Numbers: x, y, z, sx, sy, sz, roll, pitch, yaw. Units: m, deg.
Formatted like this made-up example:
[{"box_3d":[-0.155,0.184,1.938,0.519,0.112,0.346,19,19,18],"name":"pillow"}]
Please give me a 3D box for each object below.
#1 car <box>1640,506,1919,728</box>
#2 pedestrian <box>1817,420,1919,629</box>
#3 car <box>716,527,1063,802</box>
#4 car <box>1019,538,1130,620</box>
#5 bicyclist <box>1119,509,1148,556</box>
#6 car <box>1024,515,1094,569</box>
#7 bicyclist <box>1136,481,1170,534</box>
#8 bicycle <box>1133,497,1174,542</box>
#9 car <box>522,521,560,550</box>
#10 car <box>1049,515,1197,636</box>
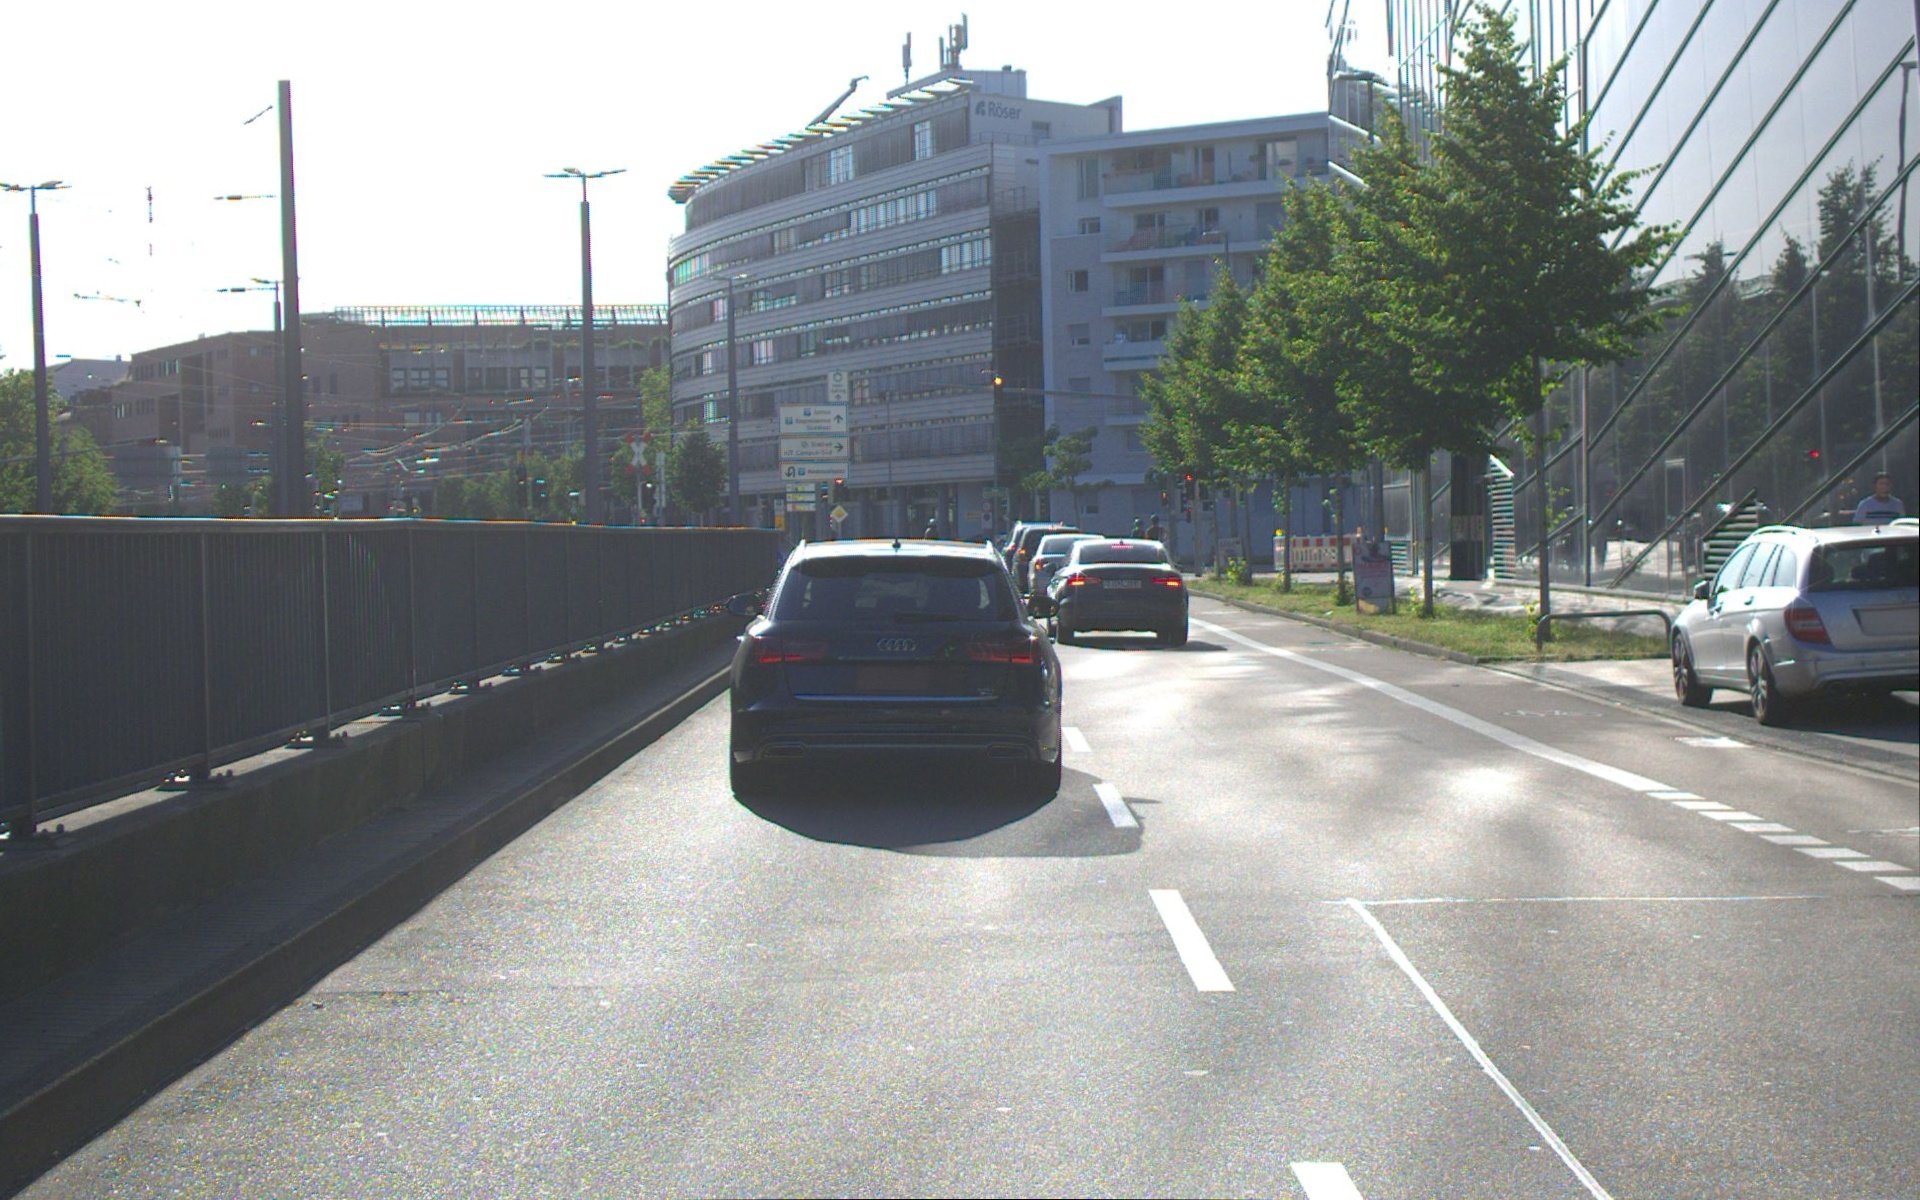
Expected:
[{"box_3d":[6.812,0.056,27.038,1.852,1.476,4.854,-3,2,-1],"name":"car"},{"box_3d":[8.987,-0.744,33.907,0.836,2.006,0.689,-2,1,1],"name":"pedestrian"},{"box_3d":[-0.406,0.293,20.616,1.812,1.422,4.690,-1,1,-1],"name":"car"},{"box_3d":[2.209,-0.431,67.080,1.993,1.460,4.001,0,2,0],"name":"car"},{"box_3d":[4.833,-1.891,95.946,0.724,1.264,1.036,-3,1,1],"name":"bicyclist"},{"box_3d":[2.864,-1.707,99.689,1.993,1.460,4.000,0,2,2],"name":"car"},{"box_3d":[5.246,-2.513,93.426,0.724,1.413,0.892,-3,1,-7],"name":"bicyclist"},{"box_3d":[5.247,-2.175,93.413,0.724,1.180,2.094,-3,1,-7],"name":"bicycle"},{"box_3d":[-26.447,-4.091,217.167,1.993,1.744,4.001,-3,2,-3],"name":"car"},{"box_3d":[2.169,-0.366,46.693,1.852,1.541,4.000,0,2,1],"name":"car"}]
